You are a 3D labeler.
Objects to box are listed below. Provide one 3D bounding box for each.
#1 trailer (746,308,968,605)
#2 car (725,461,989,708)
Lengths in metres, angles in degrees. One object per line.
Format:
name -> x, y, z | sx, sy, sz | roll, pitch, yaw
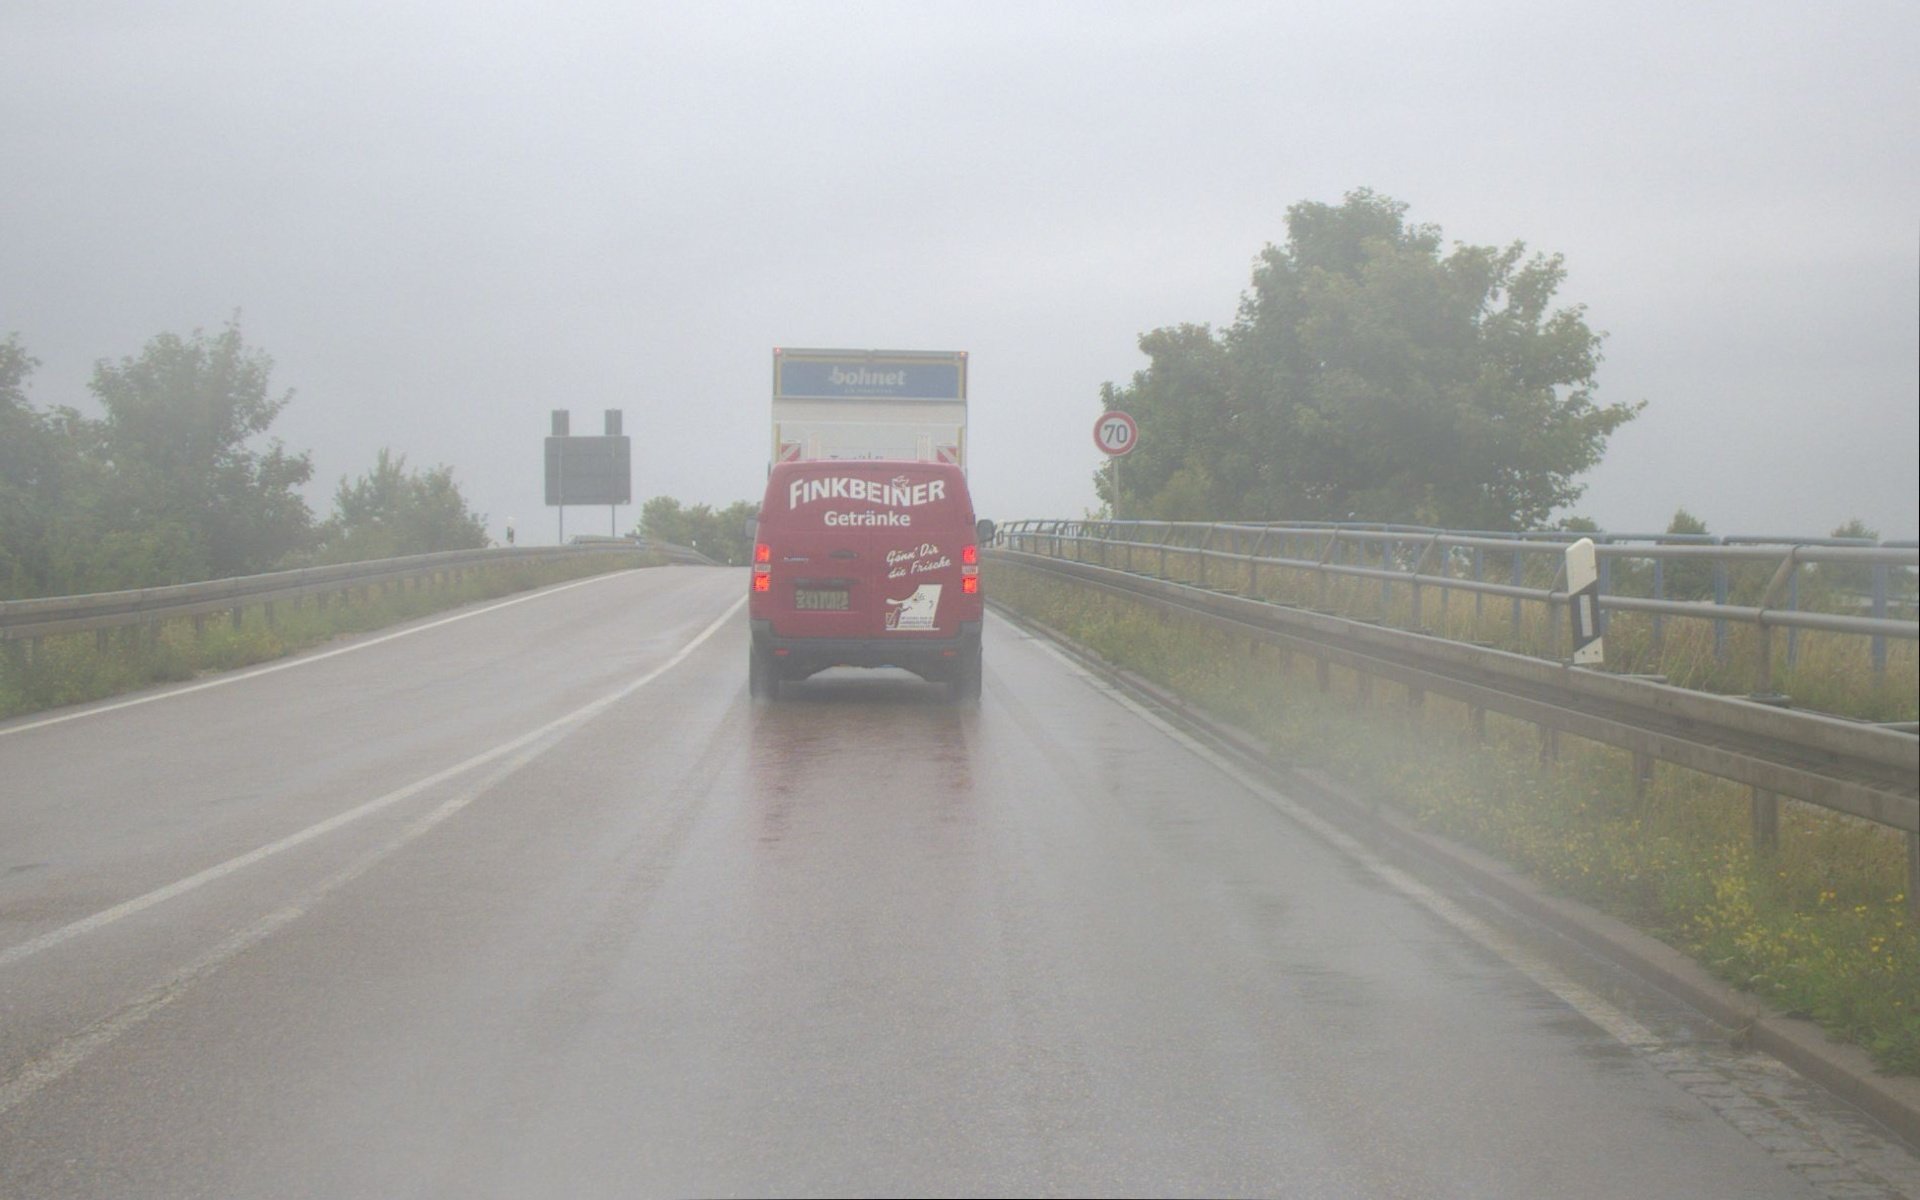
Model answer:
trailer -> -1.362, -1.909, 49.180 | 2.832, 3.806, 9.715 | 0, 1, 0
car -> -0.819, -0.173, 28.886 | 1.993, 1.864, 4.979 | -1, 1, -1
